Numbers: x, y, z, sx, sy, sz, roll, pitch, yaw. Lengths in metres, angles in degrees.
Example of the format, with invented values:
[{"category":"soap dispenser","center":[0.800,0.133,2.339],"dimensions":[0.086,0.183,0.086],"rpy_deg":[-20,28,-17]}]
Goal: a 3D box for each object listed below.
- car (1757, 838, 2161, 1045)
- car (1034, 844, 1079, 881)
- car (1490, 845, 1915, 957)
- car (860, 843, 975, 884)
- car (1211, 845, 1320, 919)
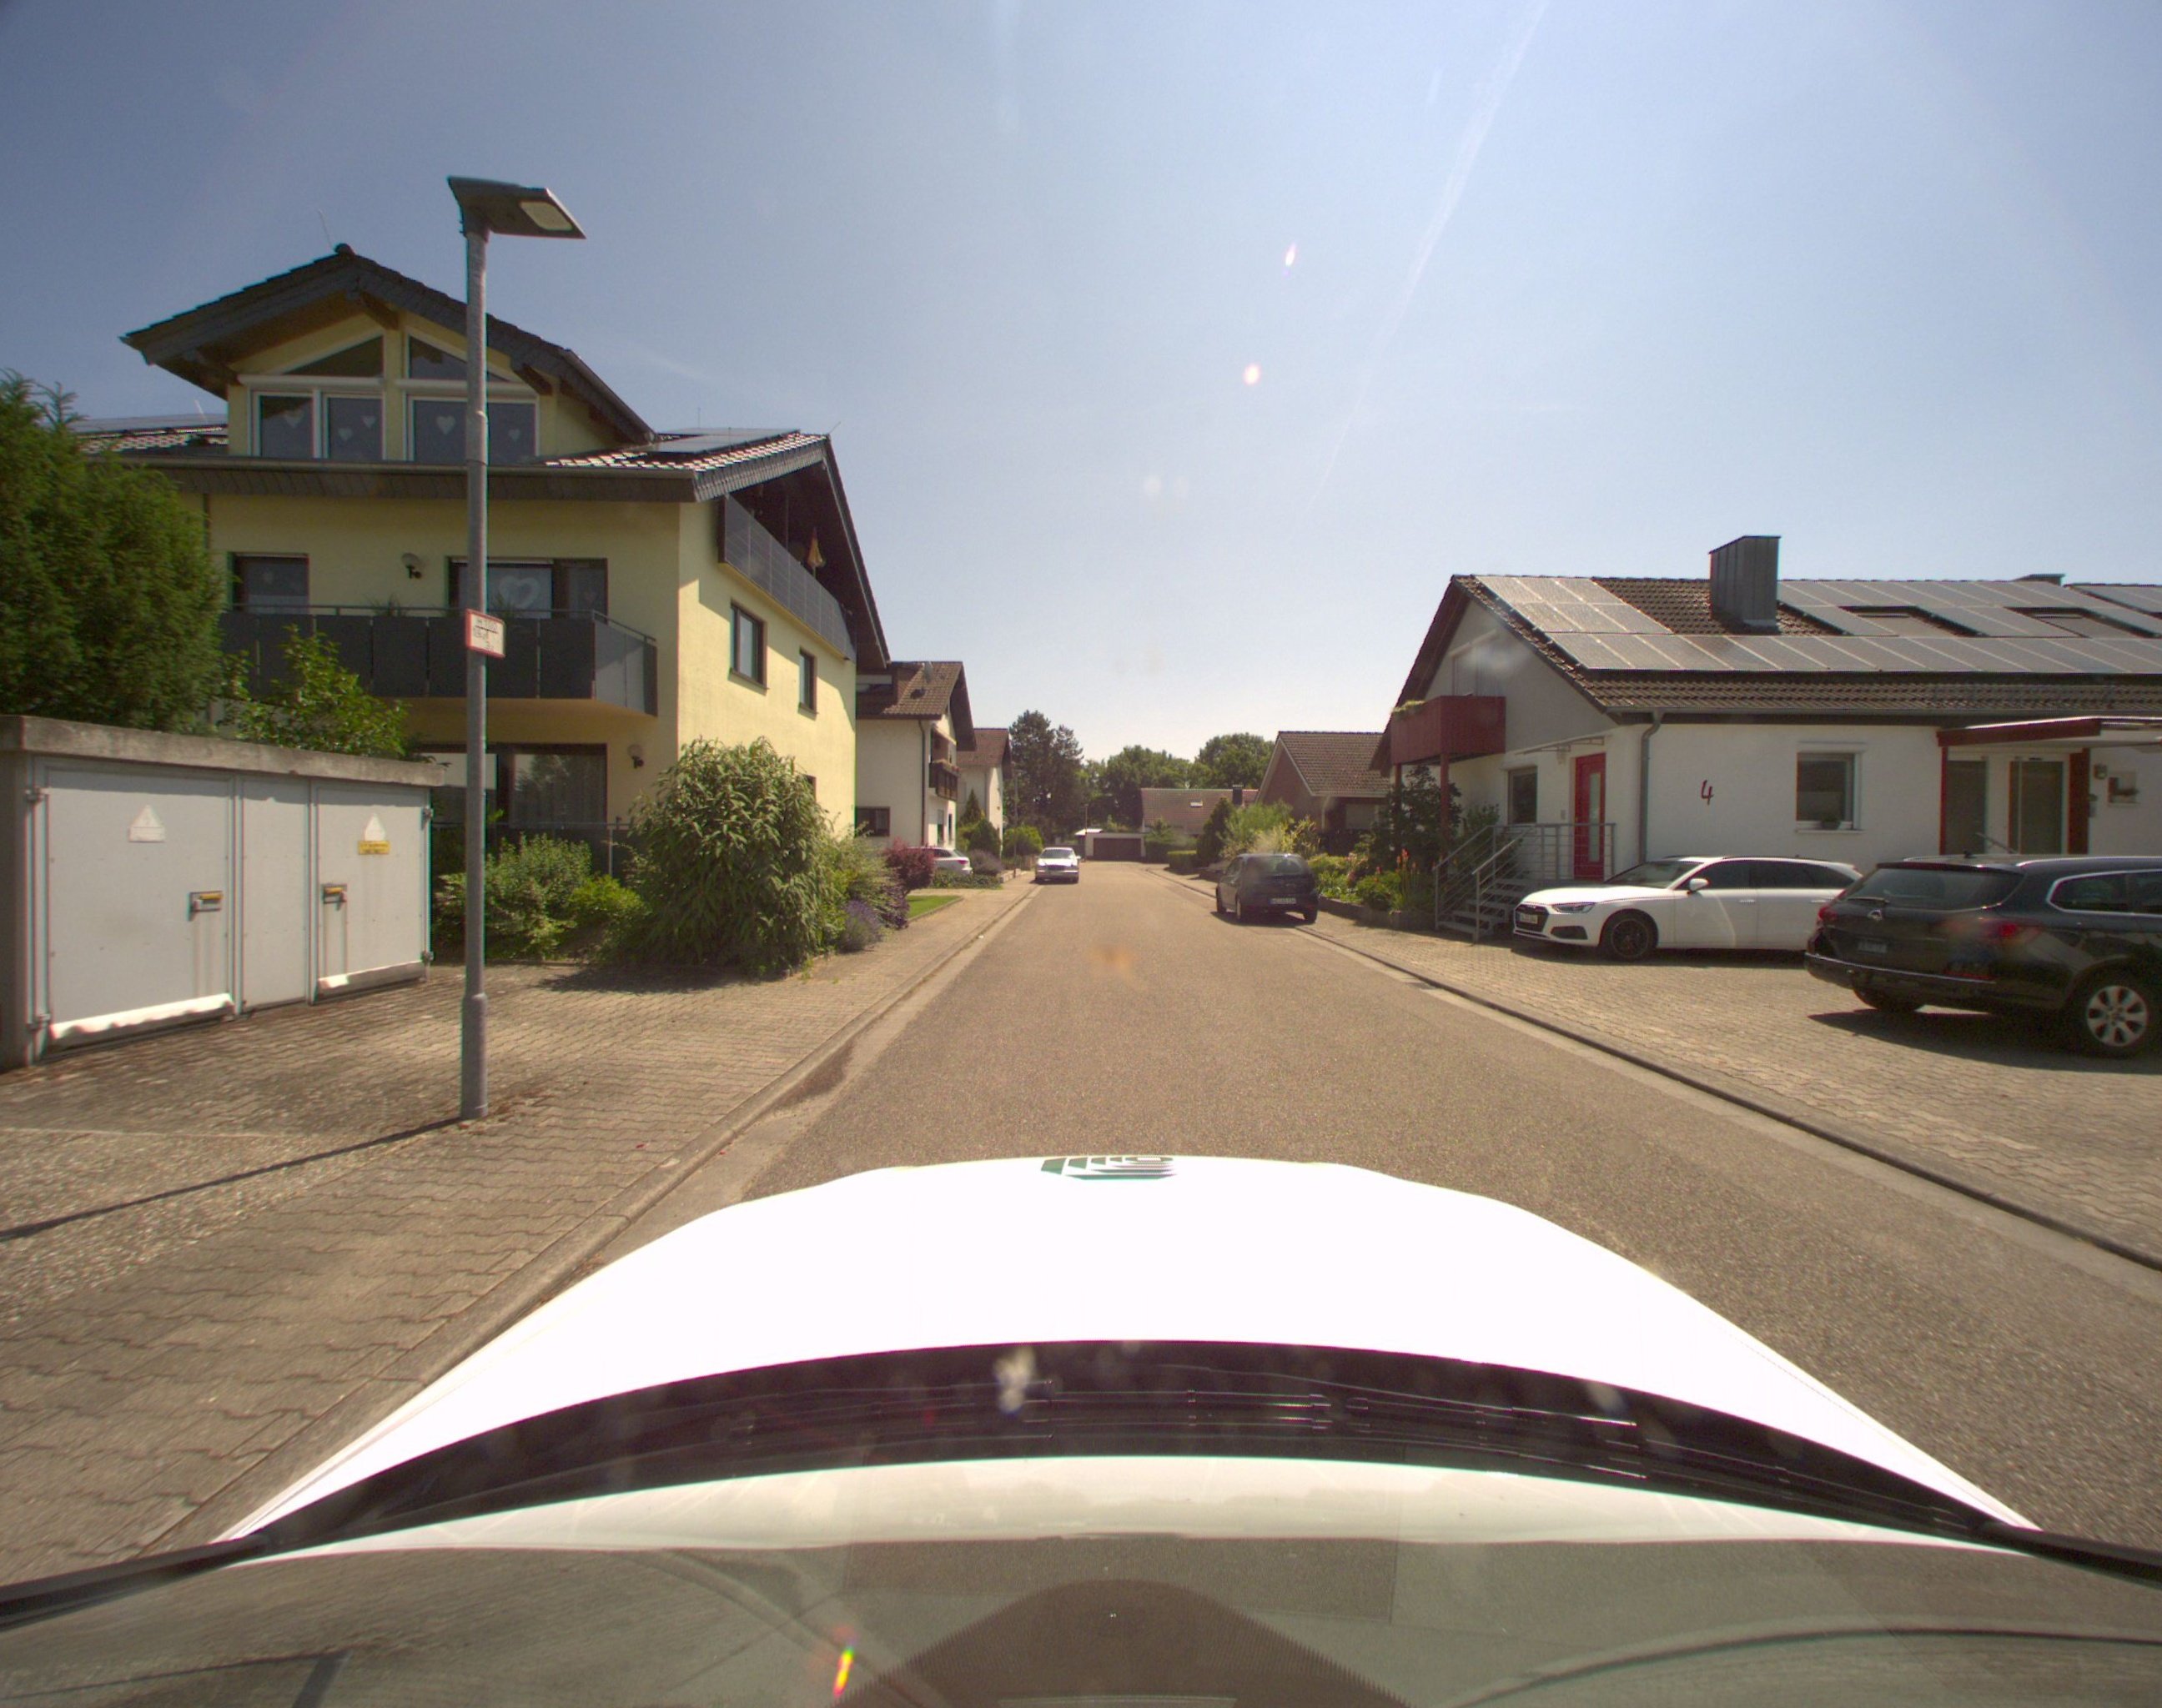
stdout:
[{"category":"car","center":[8.650,0.614,6.903],"dimensions":[4.227,1.486,2.000],"rpy_deg":[0,1,-1]},{"category":"car","center":[-0.953,0.314,34.247],"dimensions":[1.693,1.392,4.338],"rpy_deg":[0,1,1]},{"category":"car","center":[8.563,0.593,11.577],"dimensions":[4.520,1.396,1.953],"rpy_deg":[0,1,2]},{"category":"car","center":[-5.979,0.341,30.200],"dimensions":[3.981,1.420,1.842],"rpy_deg":[0,1,-6]},{"category":"car","center":[3.975,0.539,18.055],"dimensions":[1.644,1.440,3.652],"rpy_deg":[0,1,1]}]
